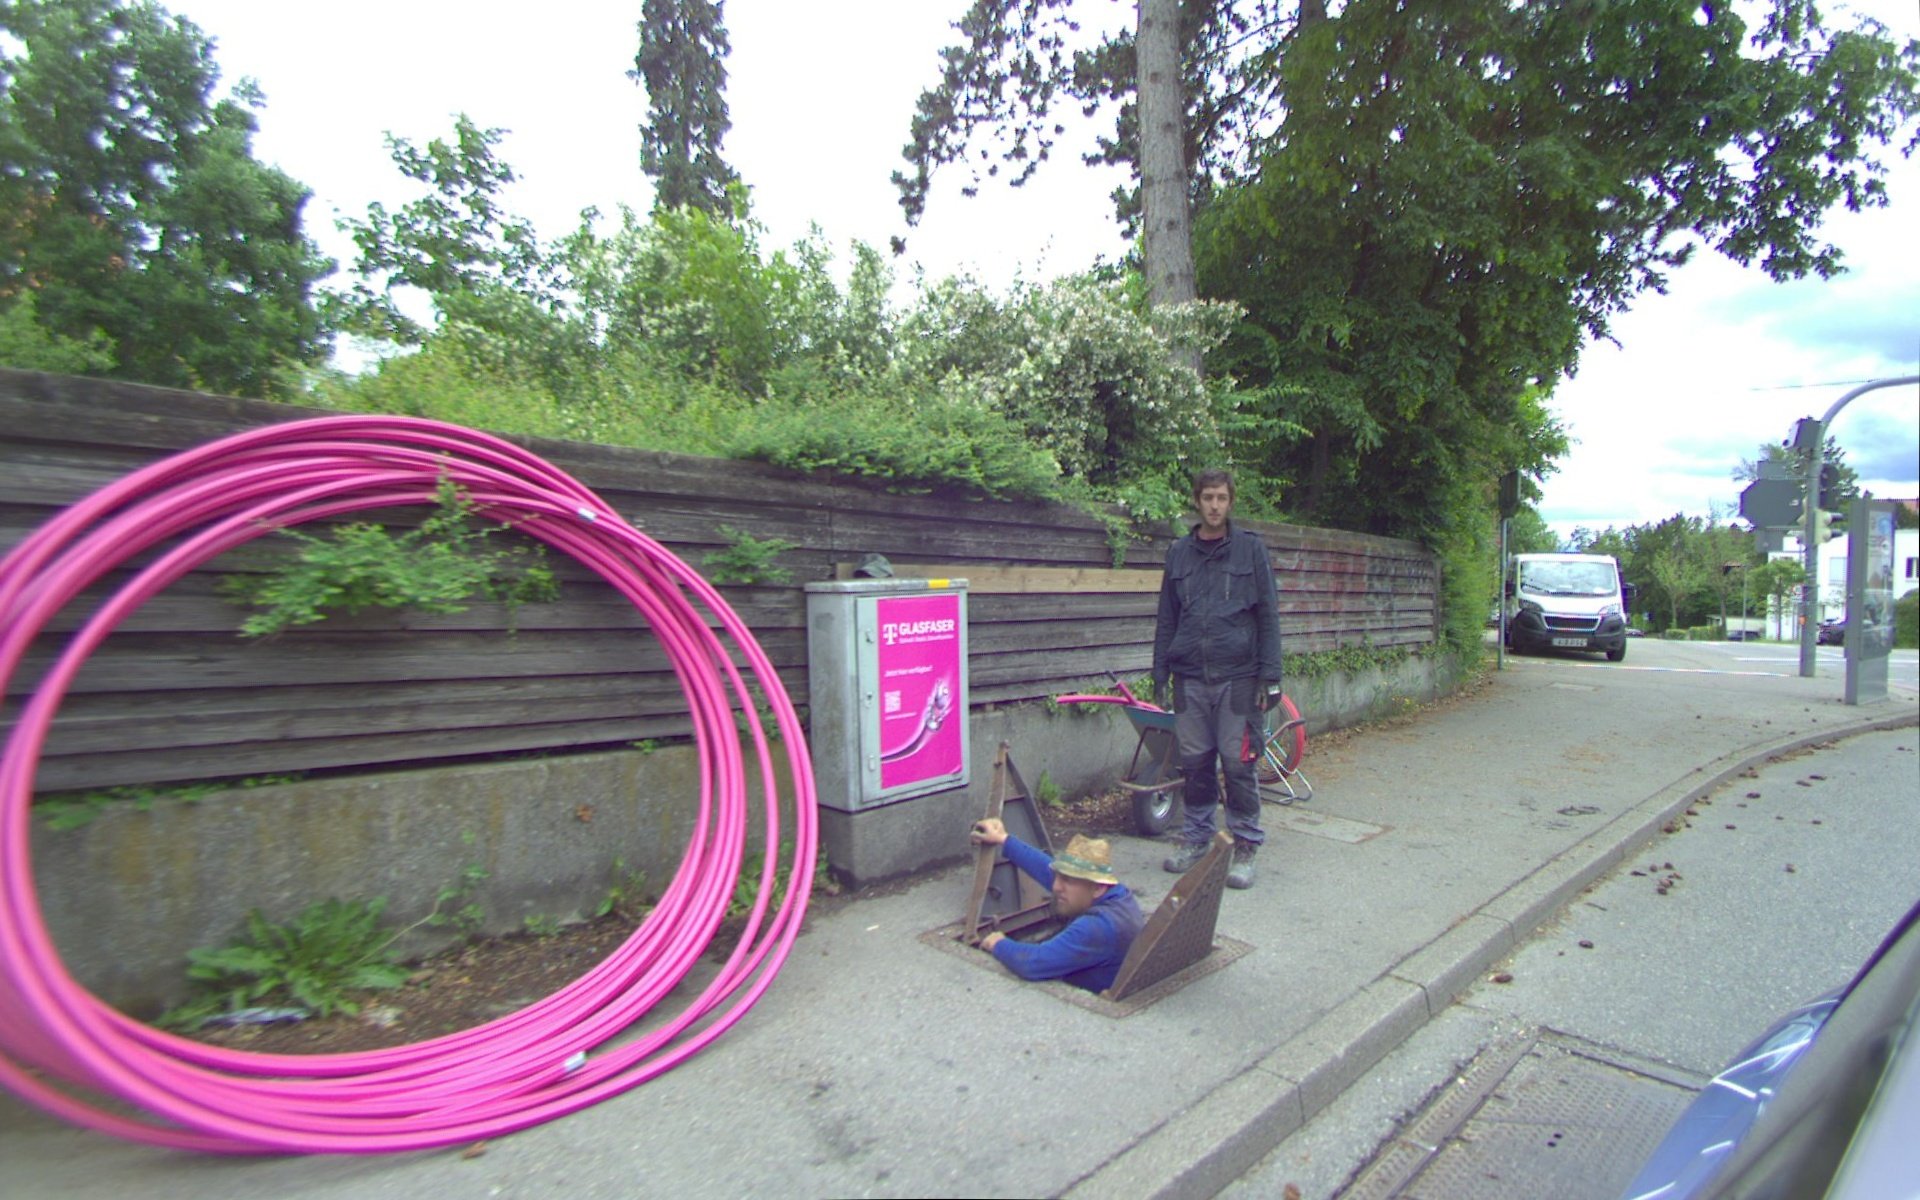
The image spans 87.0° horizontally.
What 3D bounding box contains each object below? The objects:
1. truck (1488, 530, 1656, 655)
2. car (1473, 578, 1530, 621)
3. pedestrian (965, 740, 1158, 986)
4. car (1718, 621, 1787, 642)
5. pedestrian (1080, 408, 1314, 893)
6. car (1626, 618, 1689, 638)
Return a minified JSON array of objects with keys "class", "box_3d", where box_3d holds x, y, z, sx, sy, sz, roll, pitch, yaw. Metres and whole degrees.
[{"class":"truck","box_3d":[13.449,-0.235,22.688,2.378,2.380,6.139,2,2,24]},{"class":"car","box_3d":[21.608,0.012,40.314,1.859,1.512,3.840,1,-2,30]},{"class":"pedestrian","box_3d":[0.368,0.923,3.703,0.635,0.705,0.584,1,1,6]},{"class":"car","box_3d":[69.823,2.734,89.252,4.387,1.577,1.984,2,1,24]},{"class":"pedestrian","box_3d":[1.097,0.189,4.609,0.840,1.948,0.794,1,1,27]},{"class":"car","box_3d":[64.180,2.560,93.182,4.387,1.577,1.984,2,1,24]}]
